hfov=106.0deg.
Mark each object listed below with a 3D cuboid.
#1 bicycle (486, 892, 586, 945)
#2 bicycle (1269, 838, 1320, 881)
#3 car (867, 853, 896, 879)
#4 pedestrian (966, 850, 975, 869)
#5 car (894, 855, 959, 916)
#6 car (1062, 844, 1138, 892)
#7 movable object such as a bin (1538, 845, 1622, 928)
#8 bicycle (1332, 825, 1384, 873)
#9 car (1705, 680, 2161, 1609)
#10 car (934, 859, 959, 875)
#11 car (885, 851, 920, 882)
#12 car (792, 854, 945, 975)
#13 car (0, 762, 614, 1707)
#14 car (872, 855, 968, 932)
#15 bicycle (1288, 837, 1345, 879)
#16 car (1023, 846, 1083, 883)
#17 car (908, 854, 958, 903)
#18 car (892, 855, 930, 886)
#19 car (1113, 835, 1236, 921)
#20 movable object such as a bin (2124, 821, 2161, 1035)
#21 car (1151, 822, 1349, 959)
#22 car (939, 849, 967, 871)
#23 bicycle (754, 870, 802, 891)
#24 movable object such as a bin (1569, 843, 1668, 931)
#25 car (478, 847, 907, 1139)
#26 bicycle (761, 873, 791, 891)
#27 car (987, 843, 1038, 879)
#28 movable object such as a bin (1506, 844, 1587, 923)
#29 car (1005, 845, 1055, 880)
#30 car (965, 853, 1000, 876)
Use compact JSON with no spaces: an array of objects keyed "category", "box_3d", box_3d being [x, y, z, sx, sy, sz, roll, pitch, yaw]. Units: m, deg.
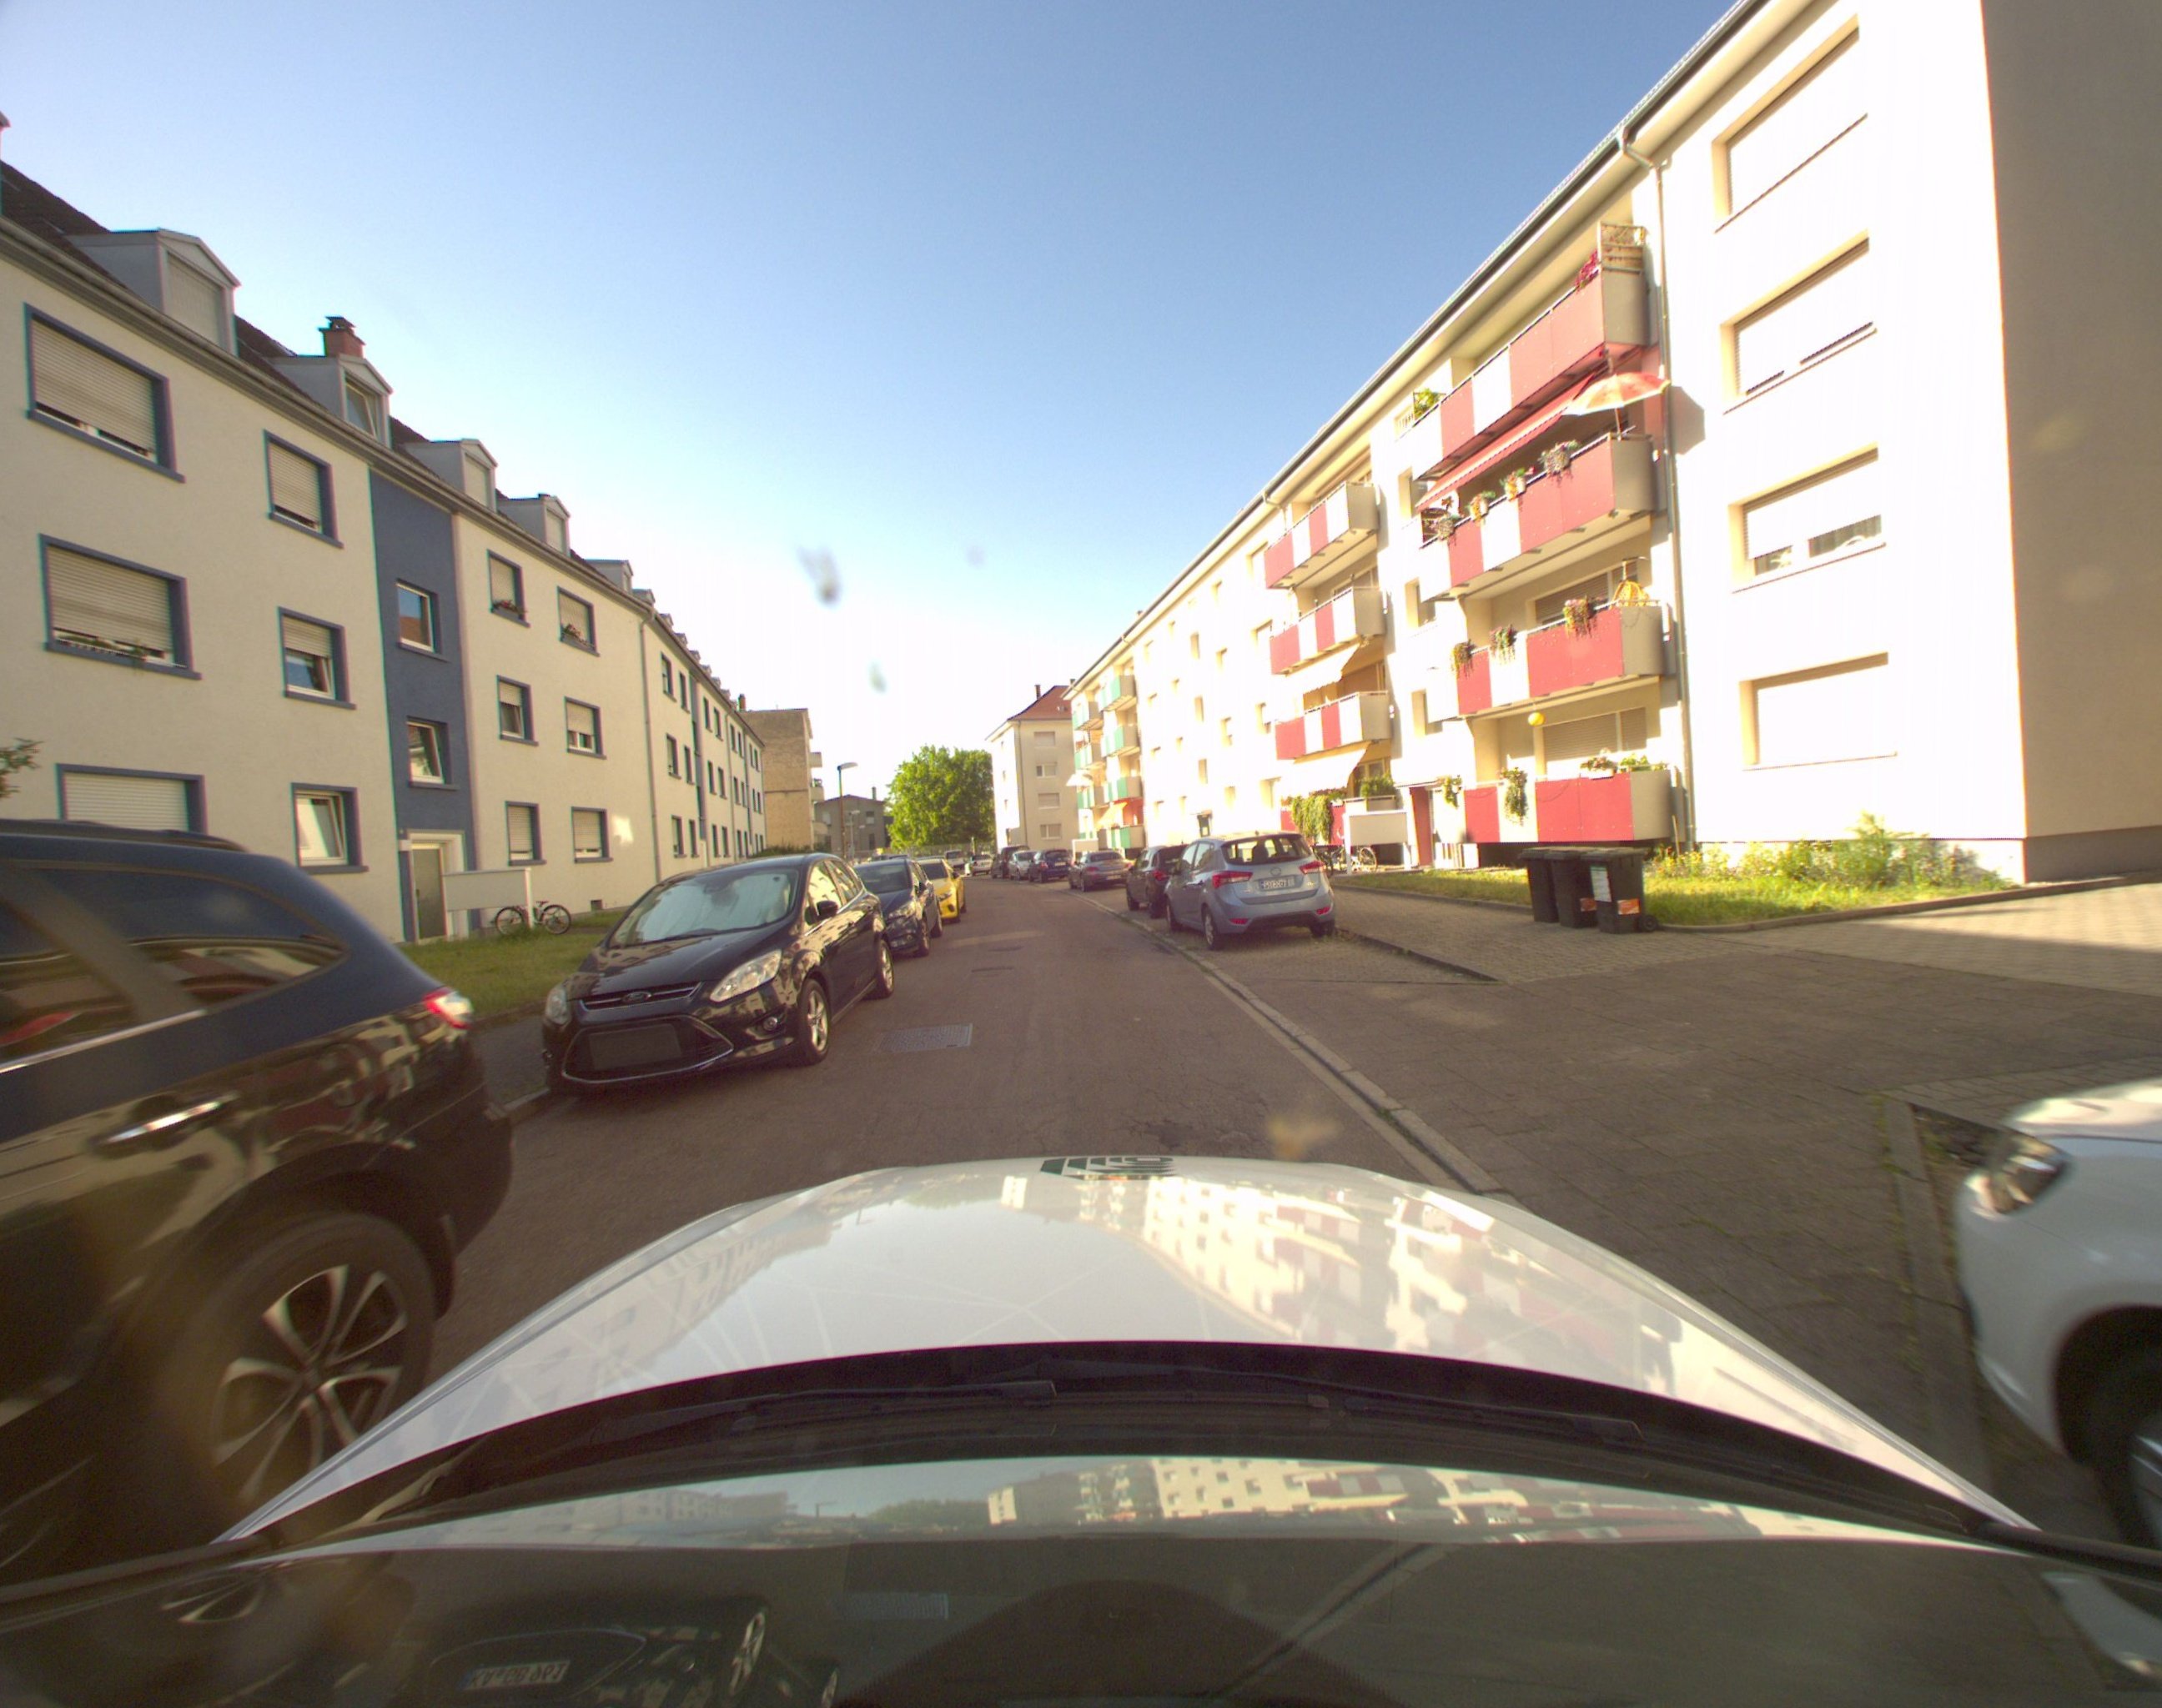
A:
[{"category":"bicycle","box_3d":[-11.998,1.415,17.950,1.813,1.078,0.568,-1,0,2]},{"category":"bicycle","box_3d":[5.560,0.148,21.305,0.497,1.019,1.836,-6,0,-9]},{"category":"car","box_3d":[-17.125,1.052,69.745,1.999,2.013,4.428,-6,0,-17]},{"category":"pedestrian","box_3d":[-10.556,0.539,77.911,0.653,1.815,0.612,-5,0,-7]},{"category":"car","box_3d":[-4.486,0.849,23.871,1.569,1.464,4.247,-6,1,-10]},{"category":"car","box_3d":[0.571,0.457,28.367,1.686,1.363,4.224,-6,1,-11]},{"category":"movable object such as a bin","box_3d":[5.867,0.373,9.590,0.583,0.899,0.517,-6,0,-7]},{"category":"bicycle","box_3d":[7.220,-0.119,21.285,0.407,1.150,1.756,-5,0,-10]},{"category":"car","box_3d":[2.711,0.483,0.178,1.688,1.655,4.390,-5,1,0]},{"category":"car","box_3d":[-12.812,1.261,77.541,1.770,1.362,4.071,-6,0,-16]},{"category":"car","box_3d":[-12.047,0.856,54.888,1.901,1.855,4.171,-4,0,-16]},{"category":"car","box_3d":[-3.213,0.817,13.090,1.692,1.444,4.011,-5,1,-6]},{"category":"car","box_3d":[-2.542,0.784,0.765,1.551,1.714,4.336,-7,0,-1]},{"category":"car","box_3d":[-3.565,0.810,18.694,1.692,1.389,4.147,-5,1,-6]},{"category":"bicycle","box_3d":[6.166,0.078,21.451,0.617,0.978,1.890,-7,2,-9]},{"category":"car","box_3d":[-1.369,0.476,37.331,1.741,1.431,4.334,-6,0,-14]},{"category":"car","box_3d":[-5.269,0.832,29.344,1.478,1.477,3.620,-8,1,-9]},{"category":"car","box_3d":[-9.426,0.916,44.991,1.662,1.443,3.849,-6,0,-17]},{"category":"car","box_3d":[1.930,0.466,17.985,1.733,1.508,3.877,-7,1,-6]},{"category":"movable object such as a bin","box_3d":[5.797,0.366,3.925,0.581,1.095,0.683,-5,0,5]},{"category":"car","box_3d":[2.428,0.454,12.808,1.764,1.635,4.033,-6,1,-6]},{"category":"car","box_3d":[-11.428,0.562,72.549,1.770,1.739,4.071,-6,0,-16]},{"category":"bicycle","box_3d":[-18.348,1.586,49.267,2.680,1.130,0.767,-1,0,-23]},{"category":"movable object such as a bin","box_3d":[5.931,0.349,9.017,0.583,0.888,0.639,-6,0,-7]},{"category":"car","box_3d":[-2.825,0.832,7.097,1.690,1.560,4.153,-7,1,-2]},{"category":"bicycle","box_3d":[-19.384,1.786,51.714,1.650,0.936,0.545,-6,0,-15]},{"category":"car","box_3d":[-4.013,0.433,47.016,1.902,1.855,4.317,-4,0,-18]},{"category":"movable object such as a bin","box_3d":[5.806,0.359,10.180,0.583,0.900,0.584,-6,0,-7]},{"category":"car","box_3d":[-2.686,0.442,41.997,1.685,1.587,3.991,-5,1,-16]},{"category":"car","box_3d":[-6.935,0.739,57.026,1.721,1.364,4.033,-6,2,-16]}]
